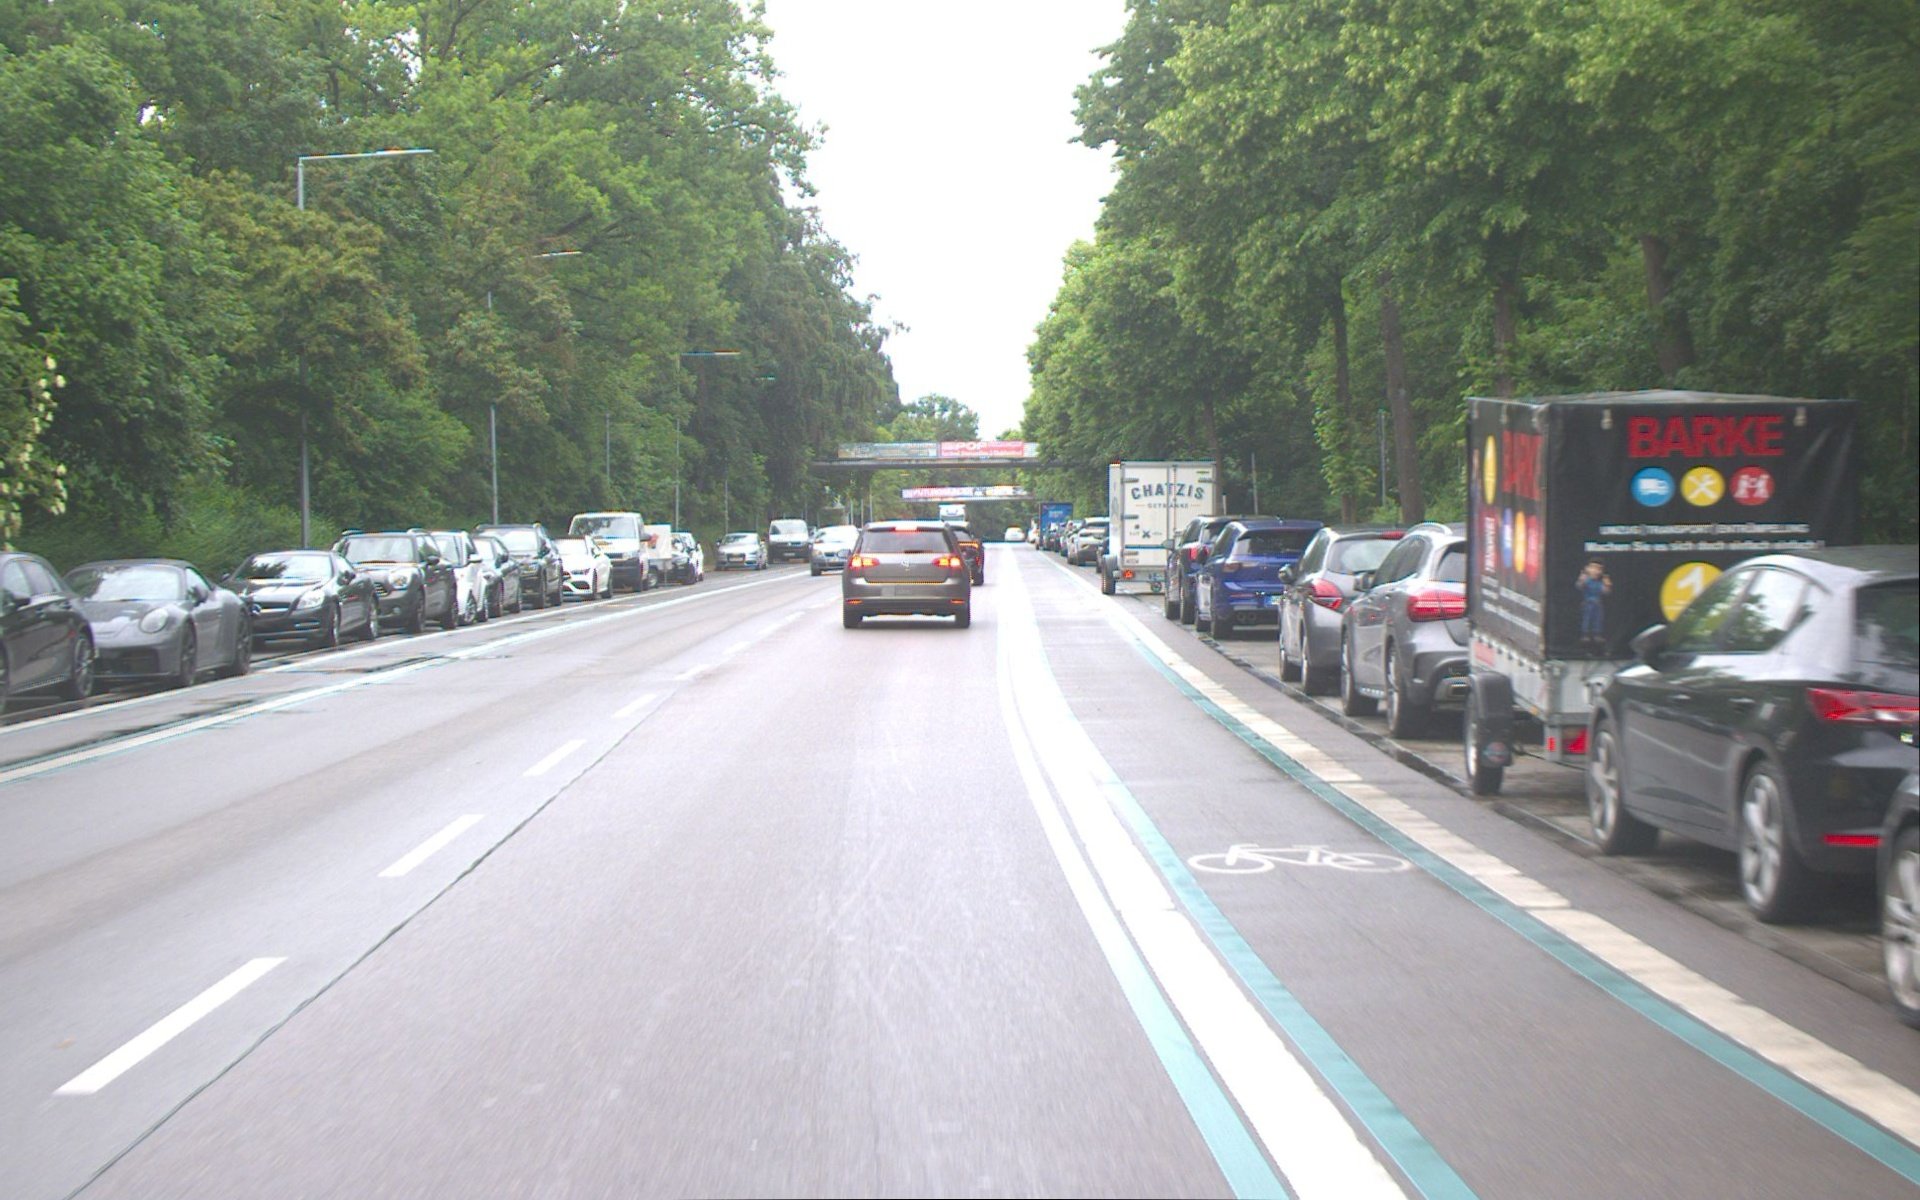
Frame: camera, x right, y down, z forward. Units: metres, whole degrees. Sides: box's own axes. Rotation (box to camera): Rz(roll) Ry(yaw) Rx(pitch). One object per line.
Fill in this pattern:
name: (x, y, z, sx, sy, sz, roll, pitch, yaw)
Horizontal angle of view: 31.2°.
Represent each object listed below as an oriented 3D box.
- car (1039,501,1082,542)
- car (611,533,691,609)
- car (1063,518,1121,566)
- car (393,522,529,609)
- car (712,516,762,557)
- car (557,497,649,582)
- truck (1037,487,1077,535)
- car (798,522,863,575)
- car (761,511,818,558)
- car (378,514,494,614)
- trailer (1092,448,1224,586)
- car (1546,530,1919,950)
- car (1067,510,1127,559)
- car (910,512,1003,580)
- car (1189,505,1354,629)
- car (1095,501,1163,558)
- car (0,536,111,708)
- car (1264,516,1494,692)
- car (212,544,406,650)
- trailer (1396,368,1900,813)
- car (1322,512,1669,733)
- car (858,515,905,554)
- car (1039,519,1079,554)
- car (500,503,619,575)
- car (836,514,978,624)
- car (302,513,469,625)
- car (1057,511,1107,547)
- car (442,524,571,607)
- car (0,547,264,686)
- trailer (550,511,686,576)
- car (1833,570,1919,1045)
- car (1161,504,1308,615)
car: (5.096, -3.972, 174.529, 1.993, 2.007, 4.000, -1, 1, -1)
car: (-8.529, -0.822, 95.259, 1.939, 2.007, 4.741, -1, 1, -2)
car: (4.576, -2.038, 119.452, 1.897, 1.601, 4.000, -1, 1, 1)
car: (-8.901, -0.645, 61.666, 1.808, 1.483, 4.469, -1, 1, 0)
car: (-8.389, -2.393, 129.638, 1.672, 1.508, 3.630, 0, 2, 0)
car: (-8.756, -1.512, 84.650, 1.939, 2.007, 4.741, -1, 1, -2)
truck: (5.332, -4.891, 189.535, 2.113, 2.590, 4.301, -1, 1, 1)
car: (-3.897, -1.578, 103.900, 1.698, 1.479, 4.035, -2, 2, 1)
car: (-7.636, -2.944, 154.095, 2.159, 2.007, 5.031, -1, 1, 1)
car: (-8.594, -0.616, 56.541, 1.461, 1.566, 2.984, -1, 1, -1)
trailer: (3.775, -1.599, 66.352, 2.132, 2.551, 4.298, -1, 1, -2)
car: (3.835, 0.471, 14.408, 1.822, 1.480, 4.201, 1, 1, -3)
car: (4.552, -2.195, 114.831, 1.897, 1.601, 4.000, -1, 1, 1)
car: (-0.103, -1.246, 77.806, 1.880, 1.461, 4.001, 1, 1, -3)
car: (3.890, -0.457, 43.498, 1.682, 1.476, 4.319, 0, 2, 0)
car: (4.667, -1.963, 95.113, 1.722, 1.520, 4.000, -1, 1, 1)
car: (-9.243, 0.180, 31.066, 1.993, 1.447, 4.138, -1, 2, 2)
car: (3.691, -0.018, 30.819, 1.615, 1.465, 4.000, 0, 1, 1)
car: (-8.690, -0.072, 46.213, 1.696, 1.296, 4.192, -1, 1, 1)
trailer: (3.792, -0.112, 19.801, 1.906, 2.240, 4.768, -1, 2, 0)
car: (3.817, 0.096, 25.197, 1.795, 1.445, 4.429, -1, 1, 0)
car: (-3.200, -2.696, 141.184, 1.835, 1.512, 4.000, -1, 2, 0)
car: (5.213, -3.335, 181.790, 1.993, 1.766, 4.000, -2, 1, 1)
car: (-8.609, -1.333, 74.270, 1.993, 1.483, 4.468, -1, 1, 1)
car: (-0.768, -0.416, 47.802, 1.871, 1.436, 4.296, 1, 0, -2)
car: (-8.604, -0.499, 51.754, 1.696, 1.578, 4.139, -1, 1, 1)
car: (5.306, -3.083, 149.806, 1.993, 1.525, 4.000, 0, 1, 0)
car: (-8.889, -0.699, 67.735, 1.879, 1.556, 4.468, -1, 1, 1)
car: (-8.653, 0.126, 35.863, 1.869, 1.299, 4.471, -1, 1, 0)
trailer: (-8.904, -1.485, 89.756, 1.628, 1.623, 3.666, 0, 2, 32)
car: (3.783, 0.659, 8.753, 1.751, 1.388, 4.446, 1, 1, -3)
car: (3.877, -0.607, 49.119, 1.713, 1.507, 3.976, -1, 1, -1)
